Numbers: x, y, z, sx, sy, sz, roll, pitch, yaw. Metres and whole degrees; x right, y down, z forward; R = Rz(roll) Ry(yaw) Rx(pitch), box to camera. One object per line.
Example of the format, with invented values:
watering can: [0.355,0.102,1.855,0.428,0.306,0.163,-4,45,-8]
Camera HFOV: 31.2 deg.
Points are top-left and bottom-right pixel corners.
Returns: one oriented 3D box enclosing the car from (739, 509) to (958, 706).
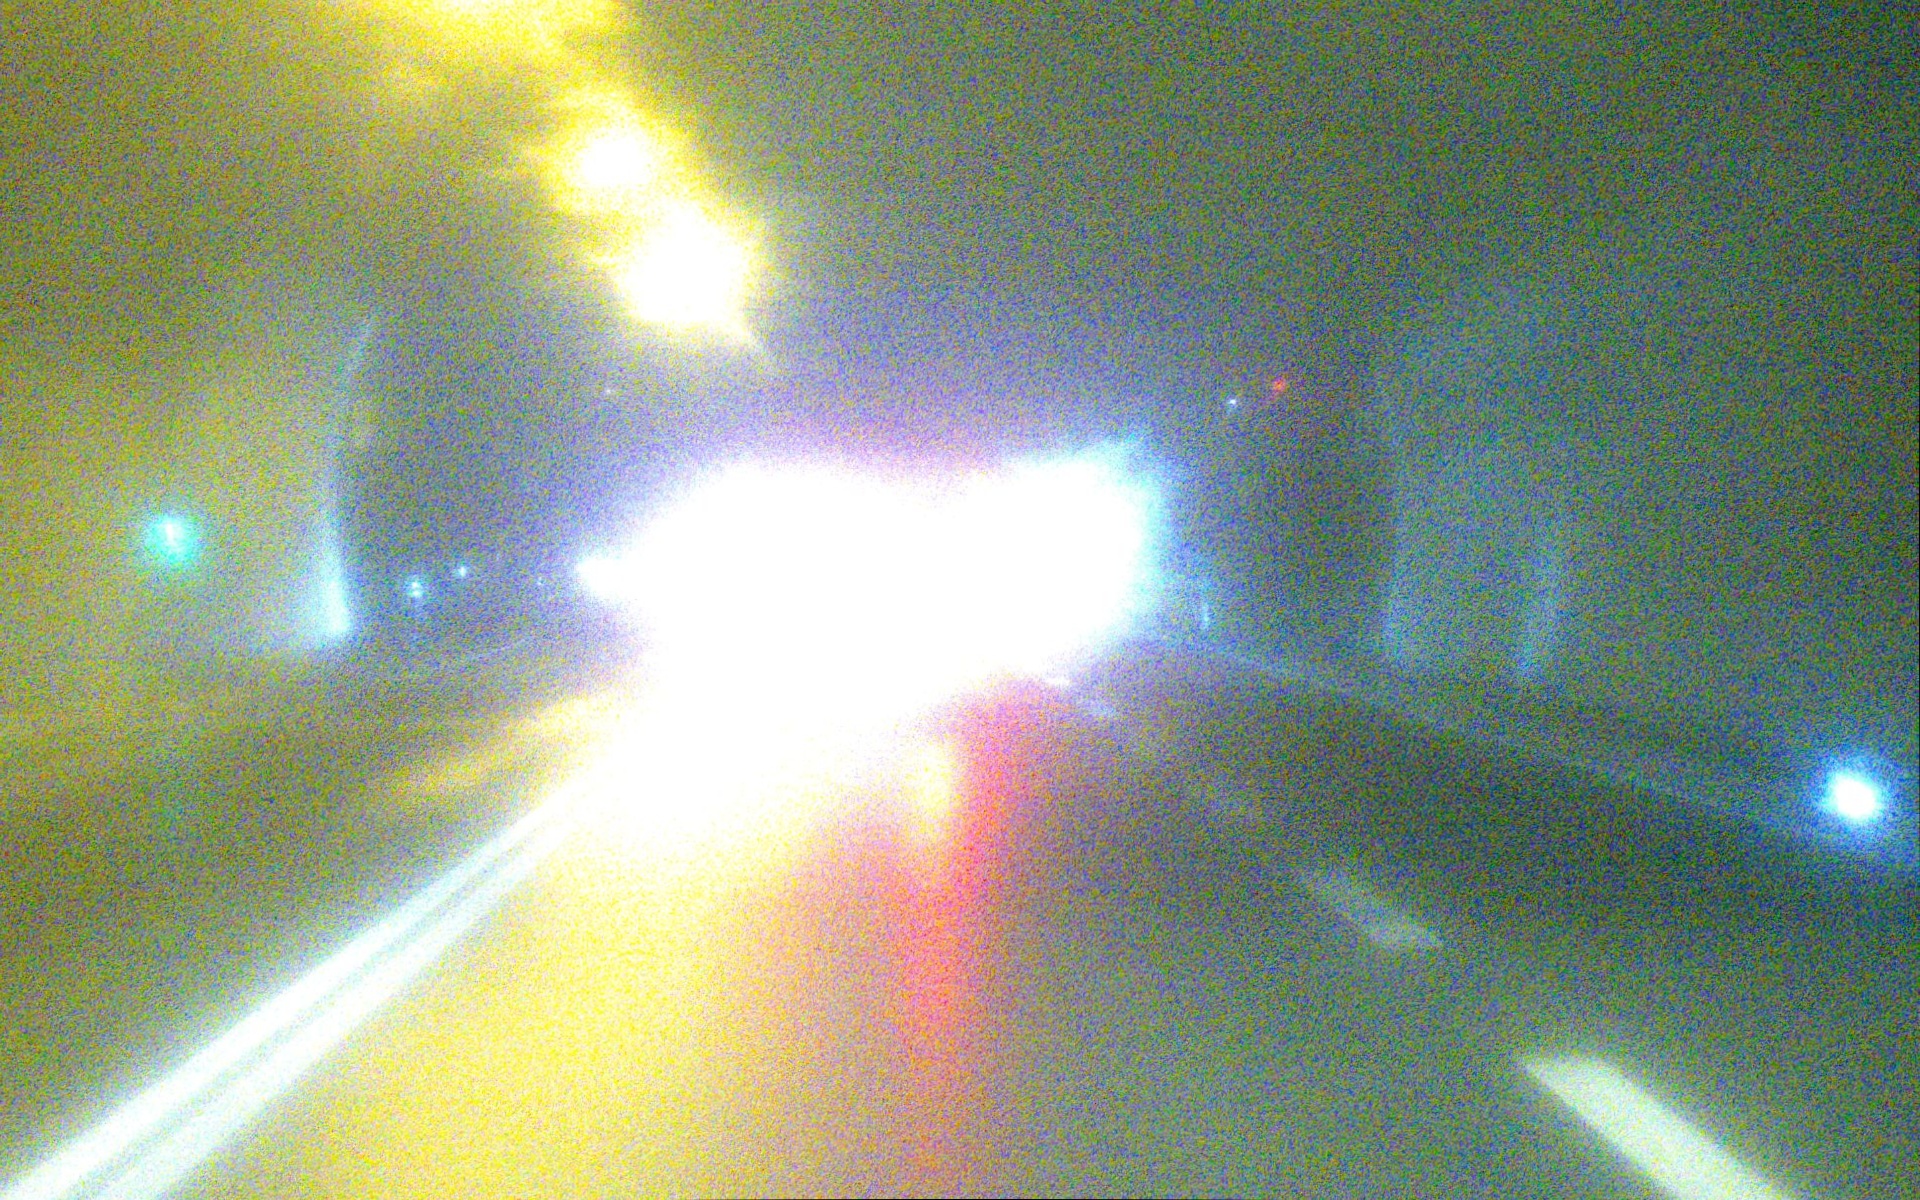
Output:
car: [-0.954,0.042,30.541,1.808,1.616,4.000,1,1,-1]
